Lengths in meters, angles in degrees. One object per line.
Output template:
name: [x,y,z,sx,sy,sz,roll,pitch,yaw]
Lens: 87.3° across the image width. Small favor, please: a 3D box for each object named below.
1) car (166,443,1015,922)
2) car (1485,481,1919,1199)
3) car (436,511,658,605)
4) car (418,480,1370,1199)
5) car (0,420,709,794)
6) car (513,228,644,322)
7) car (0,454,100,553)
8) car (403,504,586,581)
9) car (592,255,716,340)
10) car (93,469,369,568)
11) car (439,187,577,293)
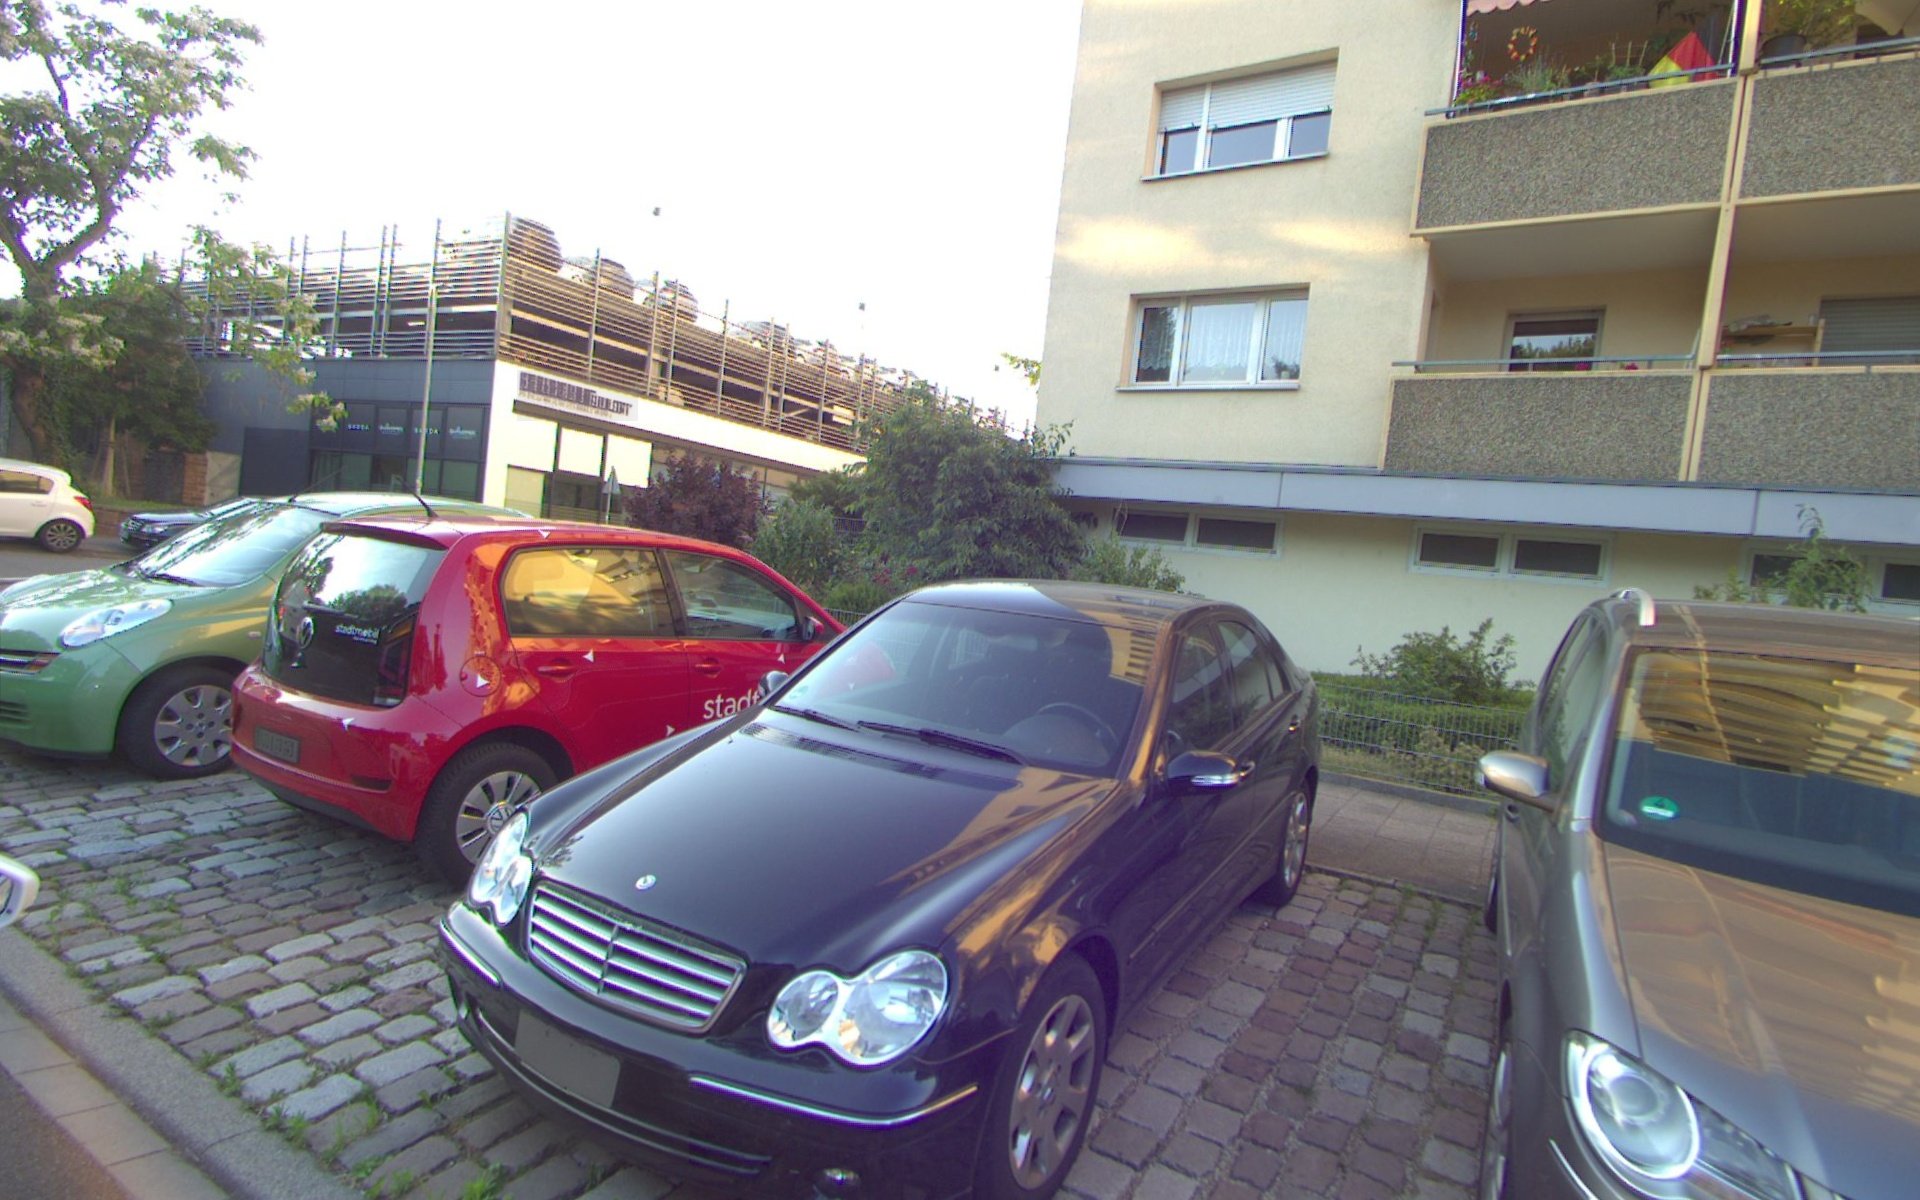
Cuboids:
car: [-1.615,0.191,5.859,1.815,1.655,4.398,8,5,33]
car: [2.700,0.731,3.035,1.814,1.684,4.405,5,3,28]
car: [-8.464,-0.819,20.896,1.794,1.544,3.835,8,3,35]
car: [0.422,0.571,4.192,1.814,1.551,4.407,5,2,28]
car: [-3.962,0.017,6.810,1.814,1.653,4.407,5,1,28]
car: [-12.448,-10.511,32.785,3.937,2.039,1.993,7,1,36]
car: [-17.749,-1.877,17.400,1.924,1.594,3.861,8,1,29]
car: [-11.918,-1.440,25.944,1.794,1.523,3.835,8,3,35]
car: [-10.628,-10.405,34.880,3.937,2.039,1.993,7,1,36]
car: [-15.132,-1.645,21.106,1.794,1.523,4.290,8,2,35]
car: [-13.757,-10.836,30.577,3.937,2.039,1.993,7,1,36]
